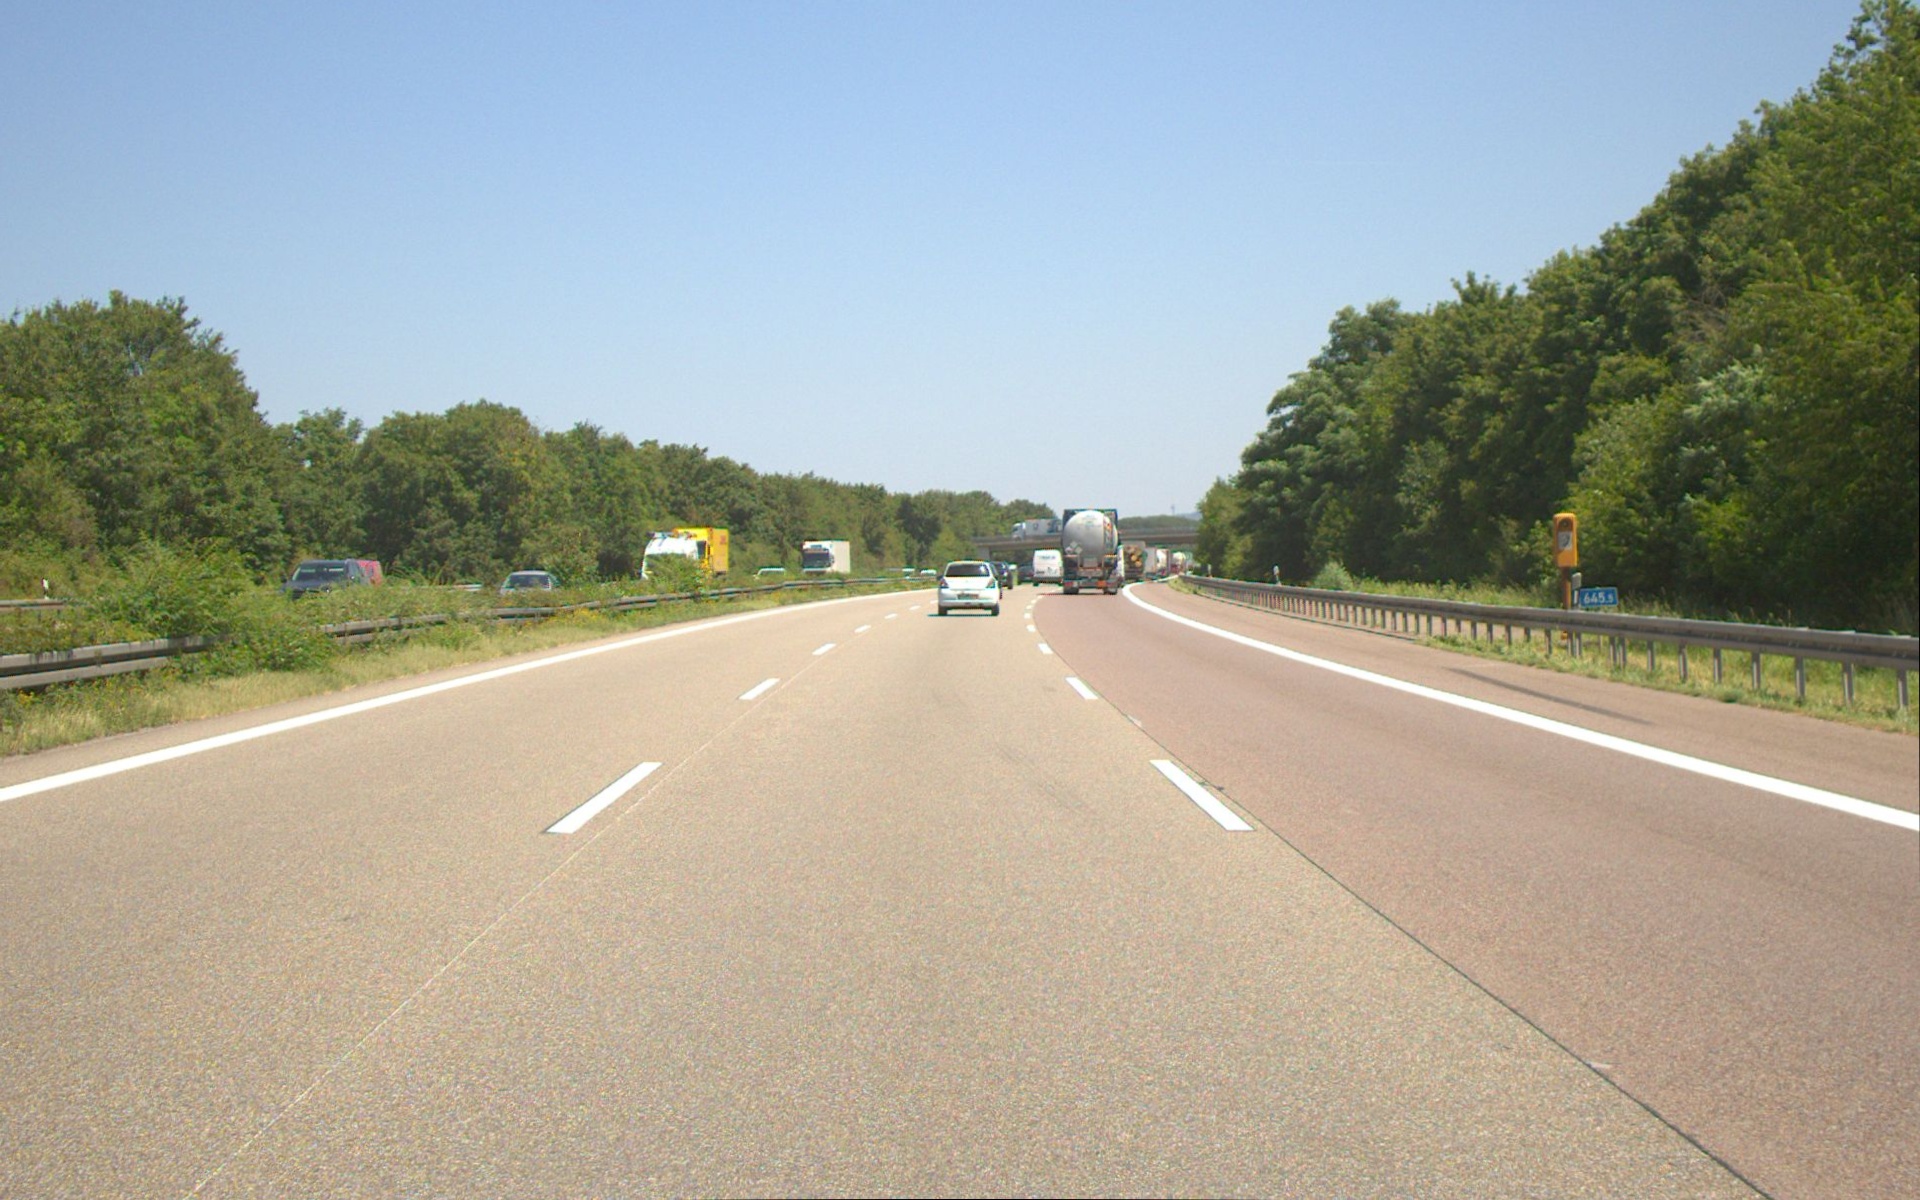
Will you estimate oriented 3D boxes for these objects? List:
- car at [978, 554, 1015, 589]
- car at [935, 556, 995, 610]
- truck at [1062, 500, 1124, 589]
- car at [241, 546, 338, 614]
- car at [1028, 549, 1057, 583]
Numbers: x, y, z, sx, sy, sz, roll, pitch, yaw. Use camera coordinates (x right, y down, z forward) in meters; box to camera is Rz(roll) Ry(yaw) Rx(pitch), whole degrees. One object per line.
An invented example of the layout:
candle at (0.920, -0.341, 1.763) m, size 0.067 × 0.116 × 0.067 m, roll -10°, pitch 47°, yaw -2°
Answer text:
car at (2.160, -1.677, 200.773) m, size 1.993 × 2.007 × 4.000 m, roll -1°, pitch 1°, yaw 2°
car at (0.134, -0.491, 96.595) m, size 1.627 × 1.474 × 4.000 m, roll -1°, pitch 0°, yaw 0°
truck at (6.314, -2.574, 162.409) m, size 2.739 × 4.038 × 10.453 m, roll -1°, pitch 0°, yaw 3°
car at (-17.619, -0.536, 90.484) m, size 1.667 × 1.748 × 4.000 m, roll 0°, pitch 1°, yaw 2°
car at (5.756, -2.378, 239.694) m, size 1.993 × 2.335 × 4.387 m, roll 0°, pitch 1°, yaw 2°
